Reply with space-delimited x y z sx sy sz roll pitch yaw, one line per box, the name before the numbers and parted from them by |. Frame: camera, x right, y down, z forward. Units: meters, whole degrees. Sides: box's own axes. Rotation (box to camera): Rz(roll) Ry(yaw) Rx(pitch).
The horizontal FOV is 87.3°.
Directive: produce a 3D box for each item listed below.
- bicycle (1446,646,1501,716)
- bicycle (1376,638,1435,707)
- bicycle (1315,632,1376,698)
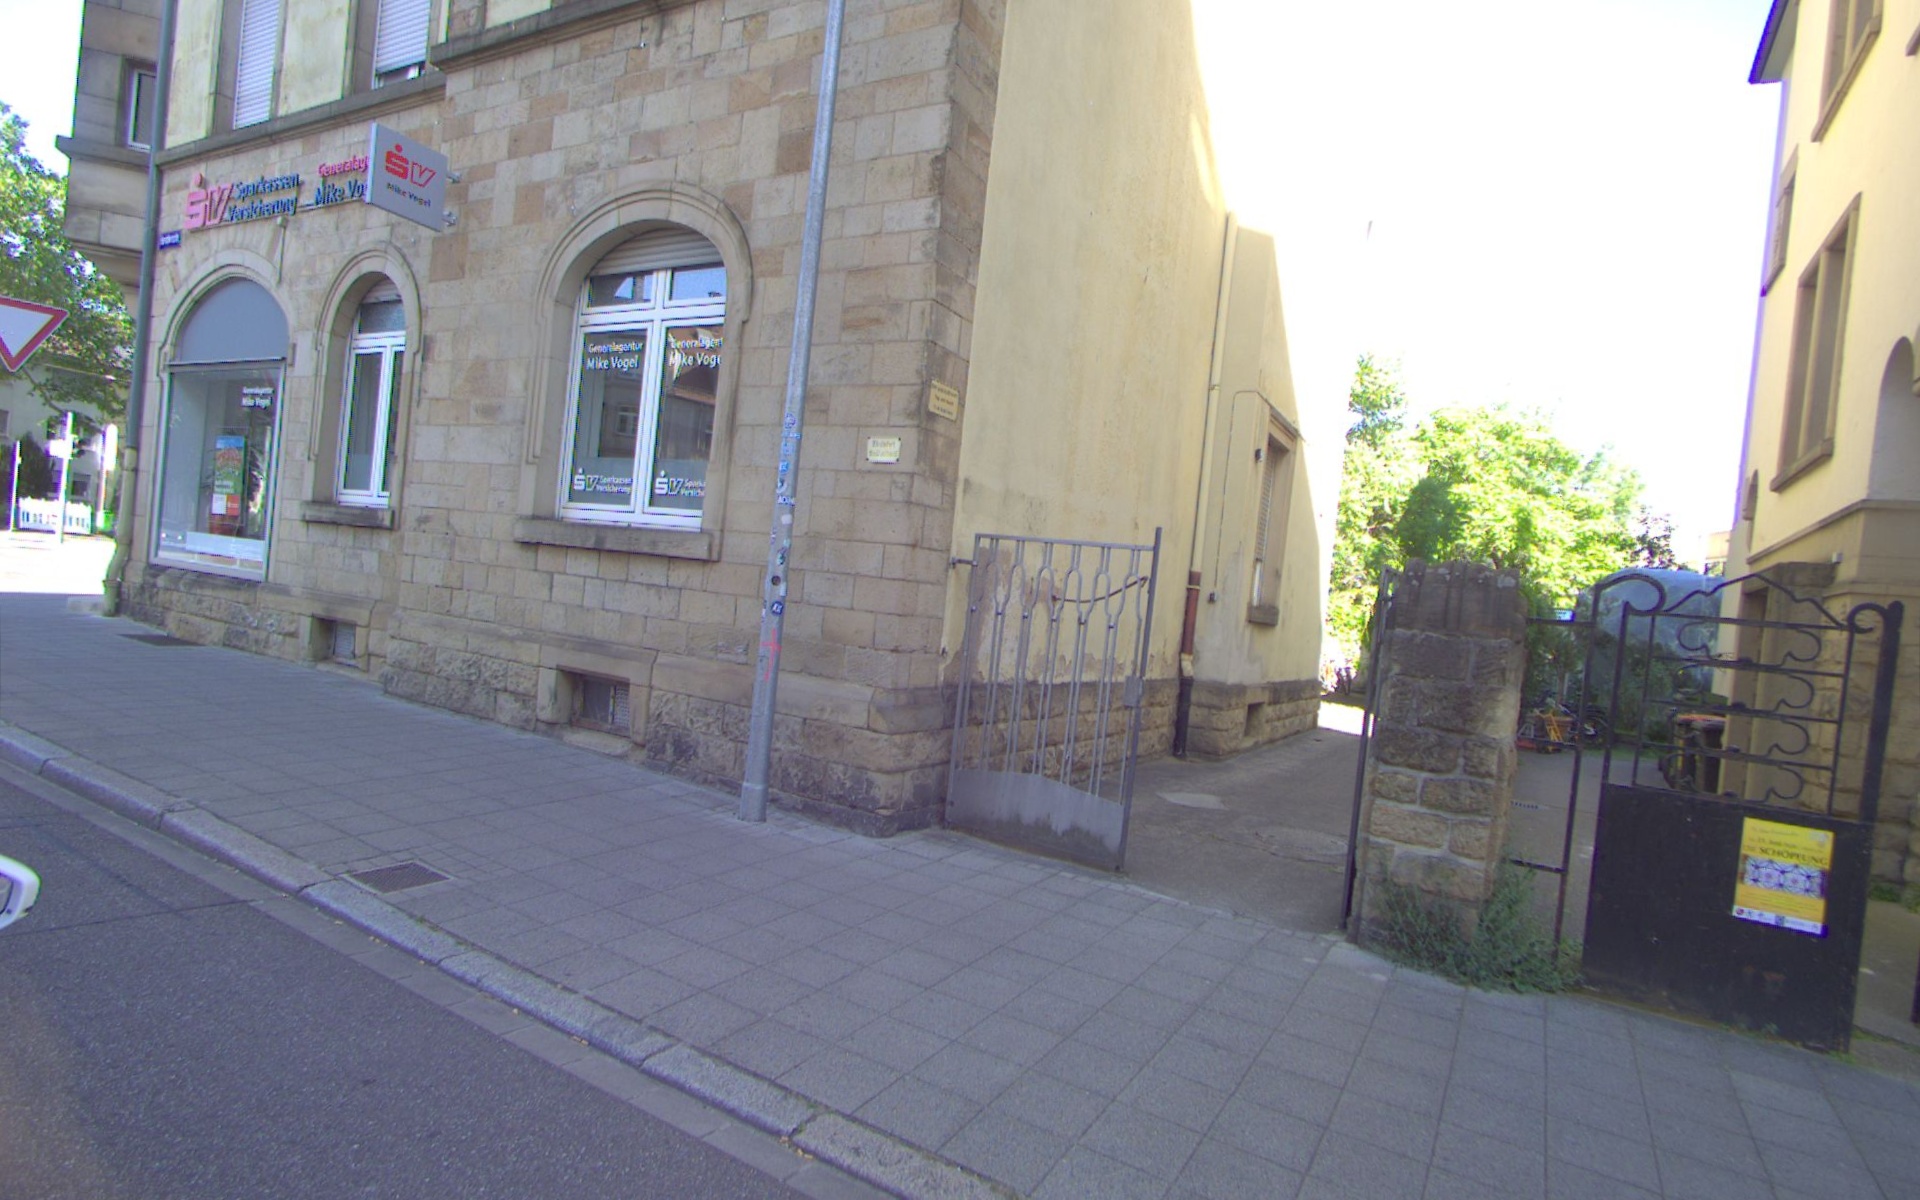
bicycle | 12.598 1.939 24.641 0.904 1.532 2.667 6 2 31
bicycle | 11.213 1.780 25.255 0.904 1.532 2.667 6 2 31
bicycle | 9.980 1.644 25.971 0.904 1.532 2.667 6 2 31
